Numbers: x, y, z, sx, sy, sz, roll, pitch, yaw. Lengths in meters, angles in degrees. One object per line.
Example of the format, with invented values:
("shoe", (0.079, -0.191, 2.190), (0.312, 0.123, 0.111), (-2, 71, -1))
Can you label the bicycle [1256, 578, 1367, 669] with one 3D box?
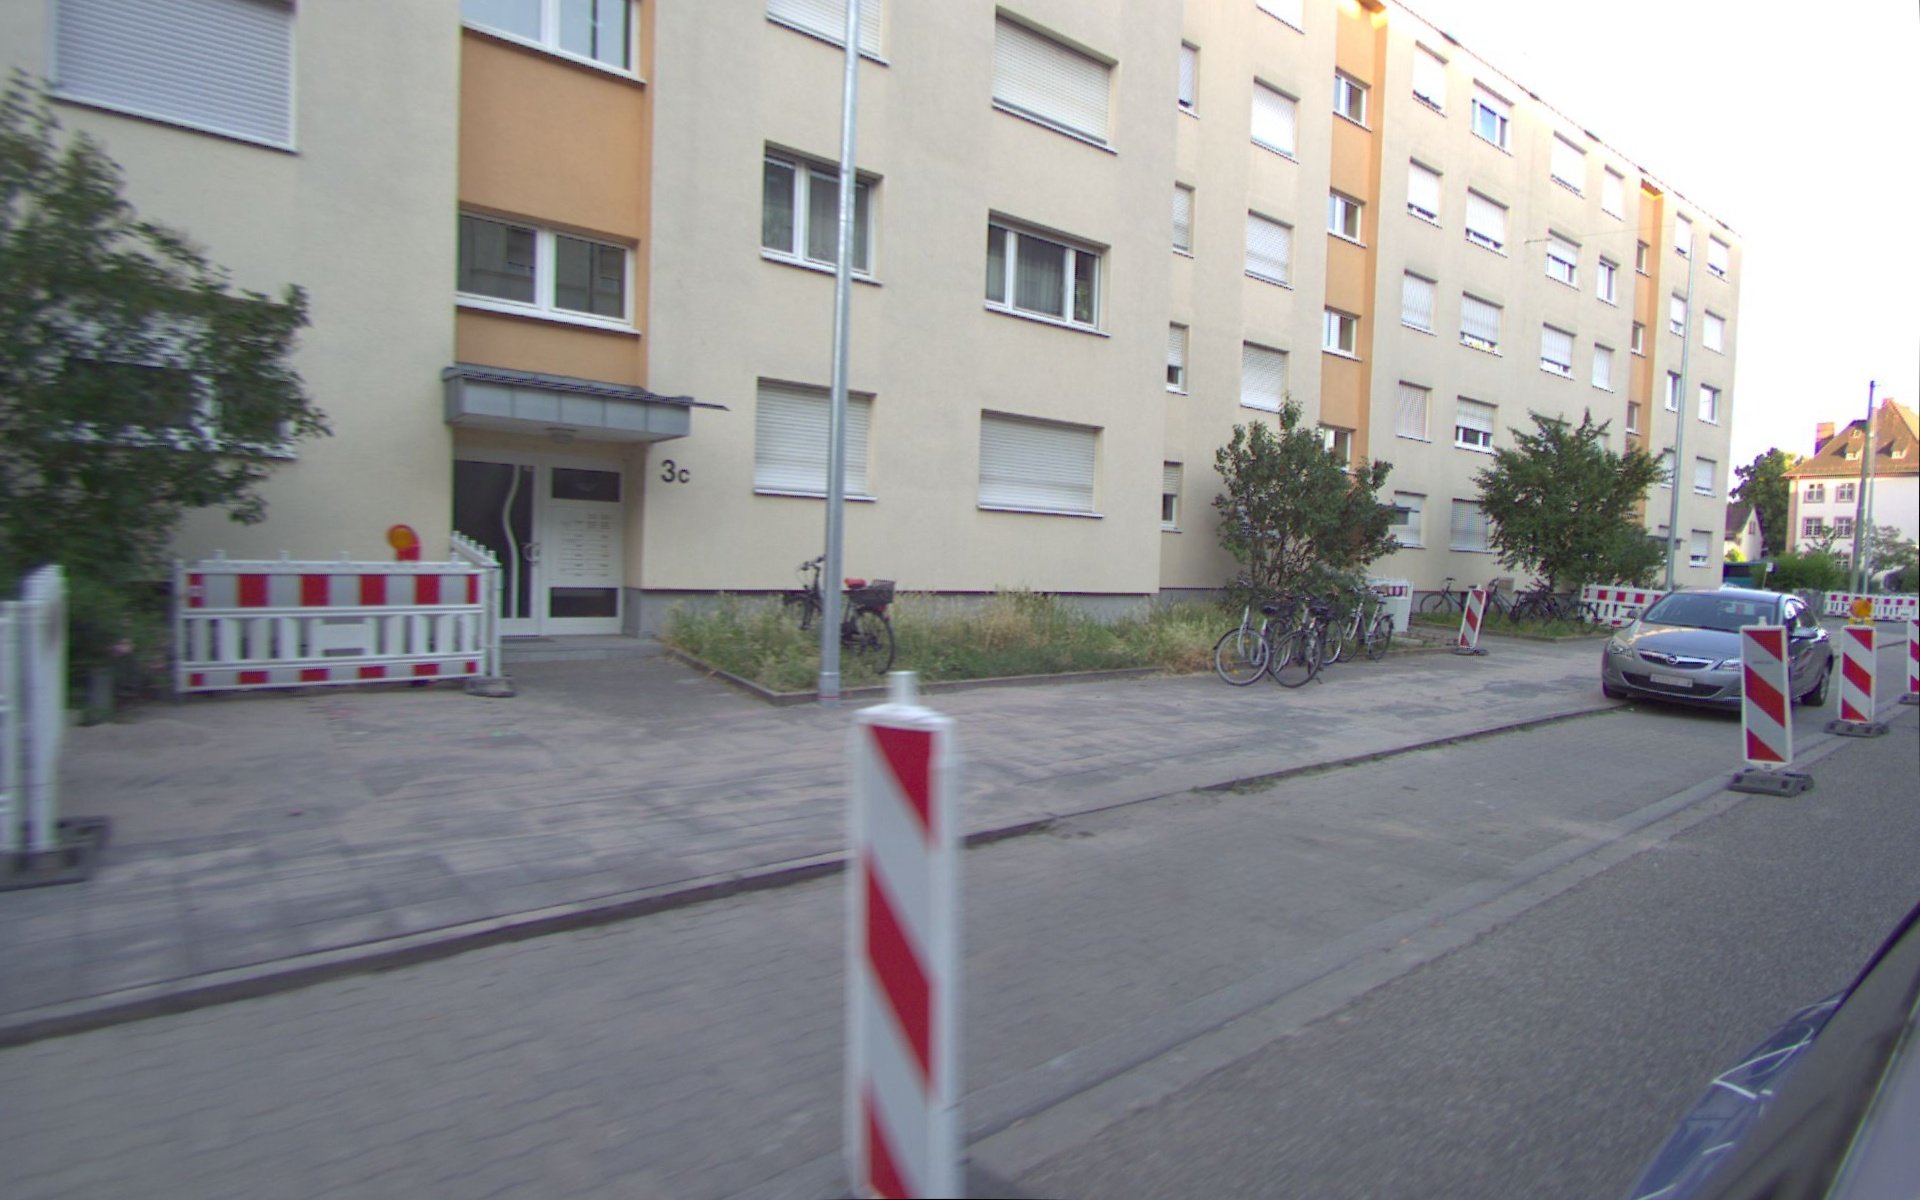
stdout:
("bicycle", (4.926, 0.305, 14.123), (1.783, 1.186, 0.557), (0, 2, -38))

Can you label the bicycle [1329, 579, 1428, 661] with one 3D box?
("bicycle", (6.415, 0.281, 15.479), (1.783, 1.186, 0.557), (0, 2, -38))

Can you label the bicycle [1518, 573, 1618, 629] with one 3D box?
("bicycle", (13.995, -0.002, 23.337), (0.548, 1.034, 1.817), (-1, 8, -39))

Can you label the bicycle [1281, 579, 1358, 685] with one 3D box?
("bicycle", (4.424, 0.343, 12.379), (0.553, 1.186, 1.798), (2, 2, 29))

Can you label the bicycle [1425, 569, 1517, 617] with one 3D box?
("bicycle", (12.225, -0.177, 24.264), (1.787, 0.931, 0.557), (5, 6, 9))

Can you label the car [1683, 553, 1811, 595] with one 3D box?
("car", (43.374, -1.461, 55.897), (2.245, 2.156, 5.042), (0, 2, -32))

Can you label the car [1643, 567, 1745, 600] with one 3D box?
("car", (37.300, -0.853, 51.480), (1.664, 1.470, 3.842), (0, 3, -38))

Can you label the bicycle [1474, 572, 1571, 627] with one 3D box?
("bicycle", (12.469, -0.032, 22.507), (0.547, 0.998, 1.763), (0, 7, -31))

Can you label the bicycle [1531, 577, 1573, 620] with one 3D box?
("bicycle", (14.459, -0.054, 24.757), (0.551, 0.874, 1.604), (6, 7, 21))

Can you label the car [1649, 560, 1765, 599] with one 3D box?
("car", (39.242, -1.115, 53.230), (1.968, 1.832, 4.492), (0, 3, -38))

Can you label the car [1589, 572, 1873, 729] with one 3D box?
("car", (9.914, 0.509, 12.886), (4.492, 1.508, 1.782), (0, 6, -40))

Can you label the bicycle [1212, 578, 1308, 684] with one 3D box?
("bicycle", (3.719, 0.337, 12.457), (0.623, 1.186, 1.795), (2, 2, 33))

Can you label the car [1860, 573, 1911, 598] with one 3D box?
("car", (63.159, -0.988, 69.019), (4.722, 1.650, 1.919), (0, 3, -40))

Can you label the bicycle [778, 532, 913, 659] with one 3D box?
("bicycle", (-1.220, -0.075, 10.556), (1.593, 1.237, 0.477), (3, 2, 44))
